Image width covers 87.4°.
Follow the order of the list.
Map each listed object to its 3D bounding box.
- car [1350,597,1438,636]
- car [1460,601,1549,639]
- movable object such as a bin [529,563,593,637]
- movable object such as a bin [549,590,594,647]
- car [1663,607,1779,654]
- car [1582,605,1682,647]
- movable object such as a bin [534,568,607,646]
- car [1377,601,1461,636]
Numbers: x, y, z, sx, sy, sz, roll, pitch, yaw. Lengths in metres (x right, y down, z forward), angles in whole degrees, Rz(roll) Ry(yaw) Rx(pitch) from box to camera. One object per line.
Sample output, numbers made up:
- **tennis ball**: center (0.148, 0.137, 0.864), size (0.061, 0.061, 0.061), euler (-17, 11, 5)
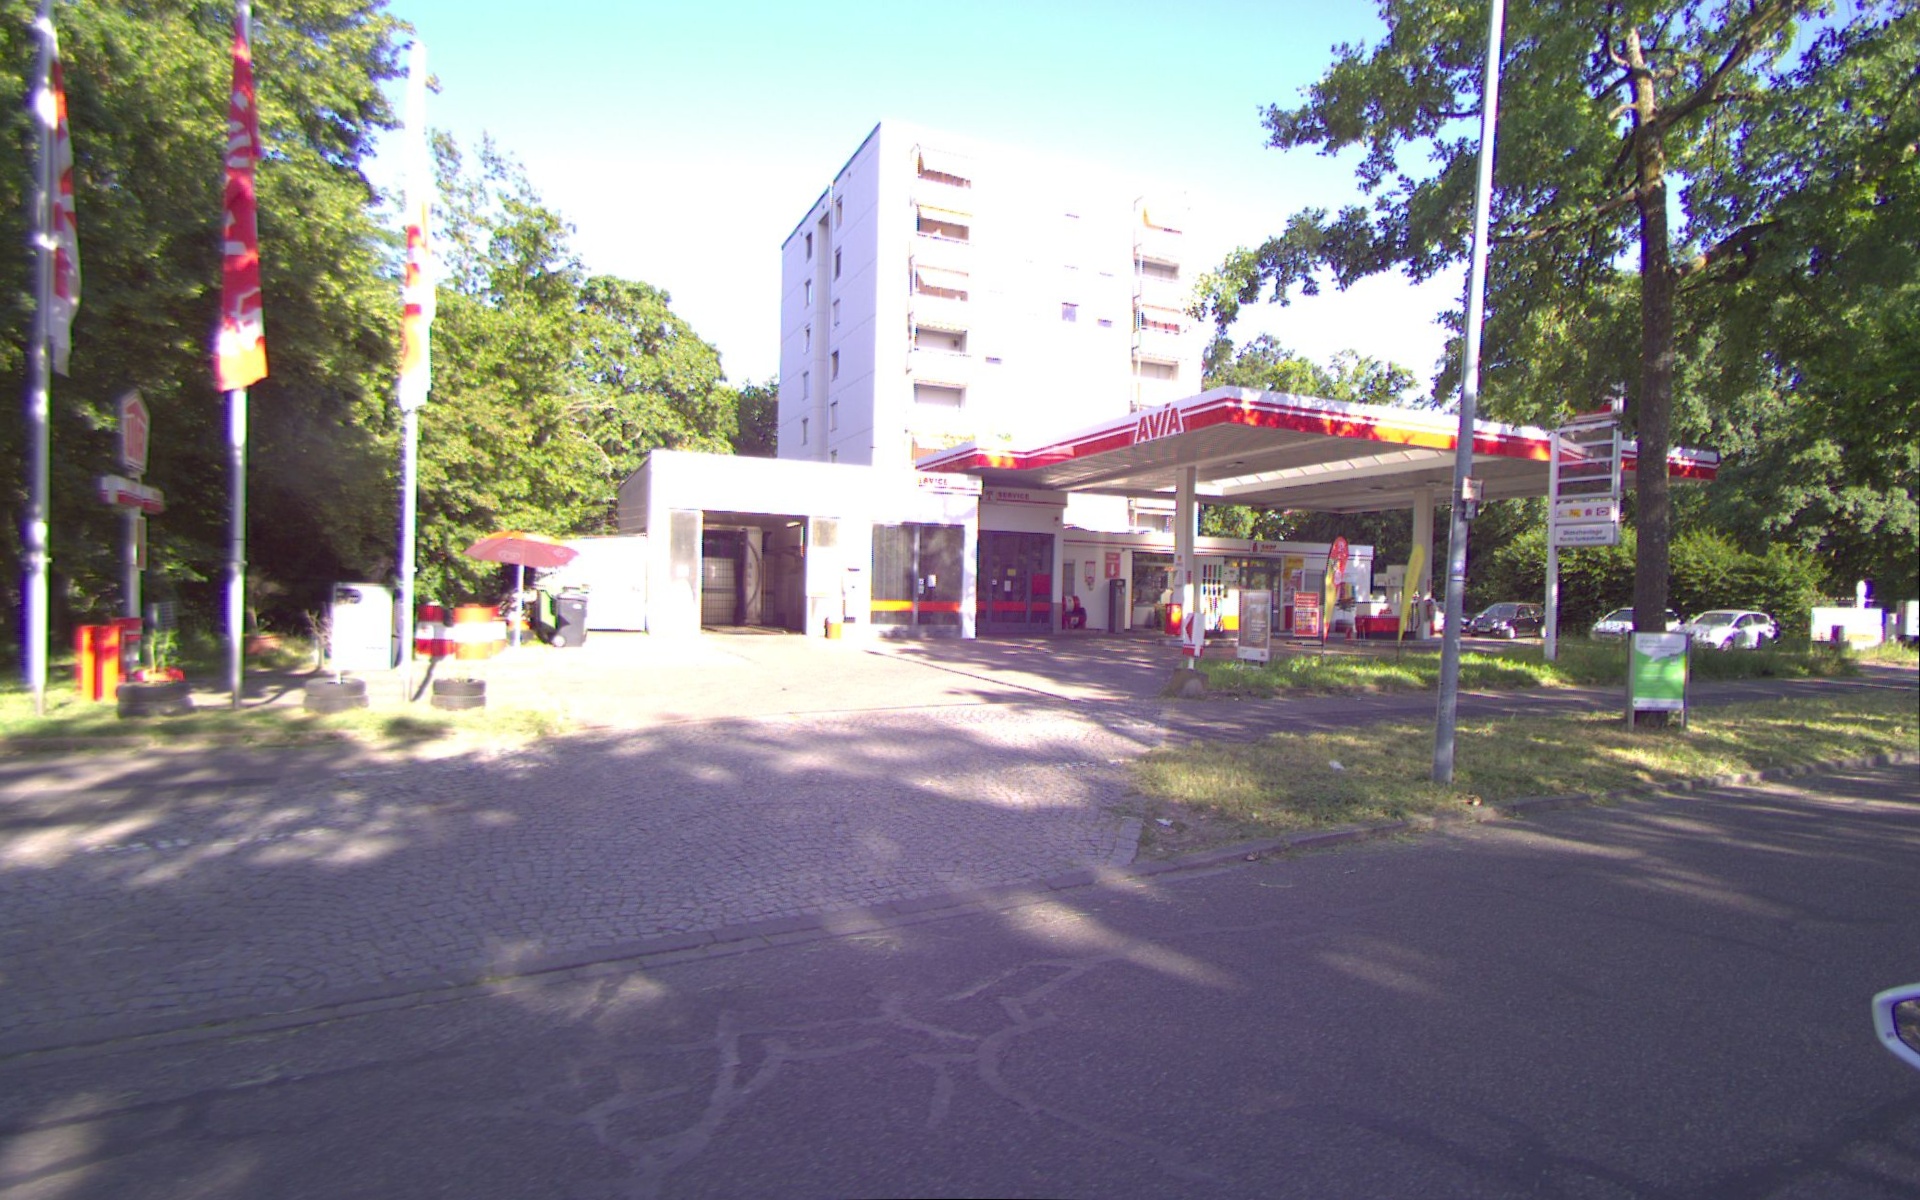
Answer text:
- **car**: center (18.091, 0.679, 41.996), size (1.562, 1.419, 3.188), euler (1, 2, -22)
- **car**: center (21.724, 0.794, 40.088), size (3.158, 1.386, 1.419), euler (1, 2, -22)
- **movable object such as a bin**: center (-8.884, -0.012, 22.323), size (1.150, 1.562, 1.298), euler (1, 2, -29)
- **movable object such as a bin**: center (-7.798, 0.369, 20.176), size (0.759, 1.100, 0.566), euler (1, 0, -29)
- **car**: center (25.679, 1.026, 33.914), size (3.436, 1.441, 1.543), euler (1, 2, -22)
- **car**: center (24.268, 0.928, 36.279), size (3.158, 1.386, 1.419), euler (1, 2, -22)
- **movable object such as a bin**: center (-8.173, 0.147, 21.065), size (1.252, 1.562, 1.298), euler (1, 0, -29)
- **car**: center (19.910, 0.792, 43.724), size (1.438, 1.335, 3.188), euler (1, 2, -21)
